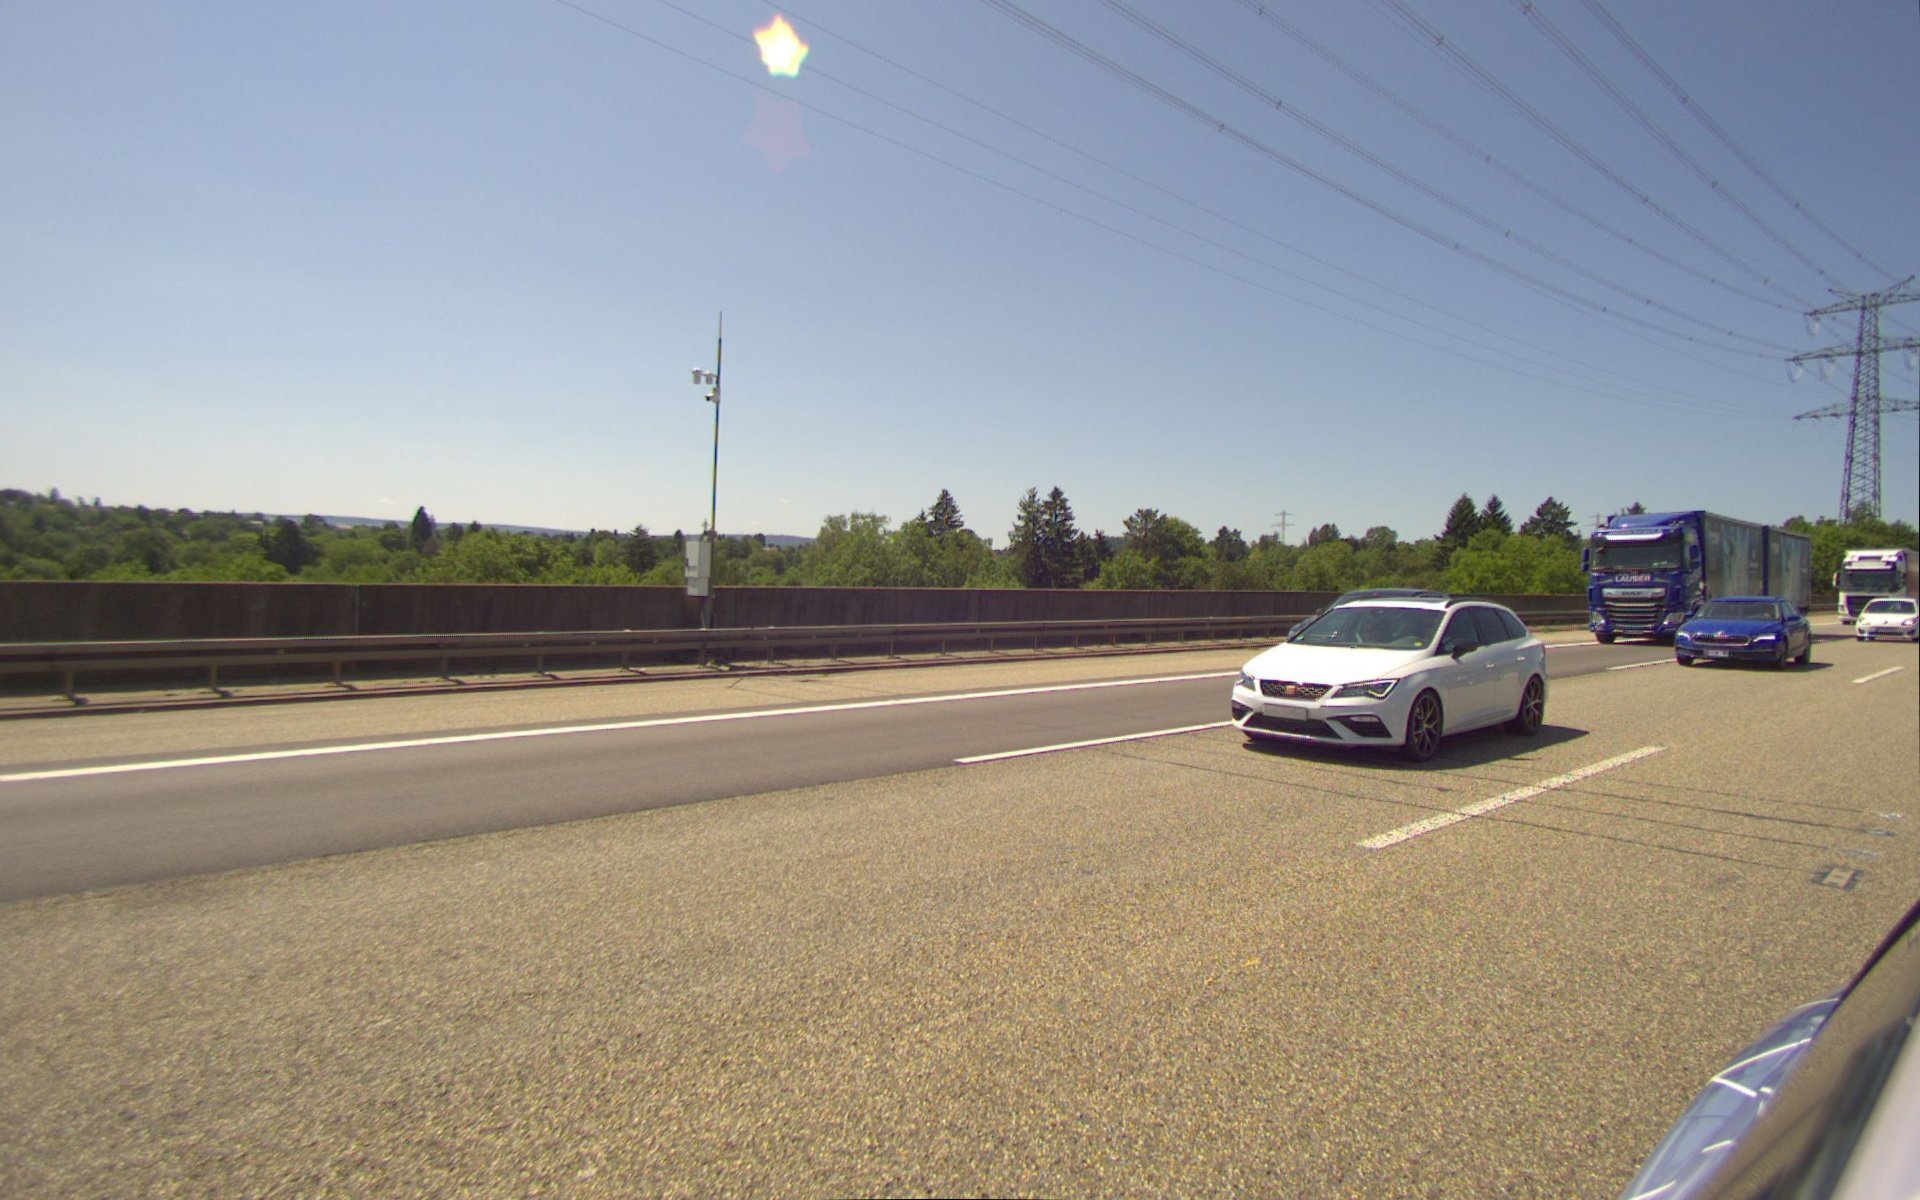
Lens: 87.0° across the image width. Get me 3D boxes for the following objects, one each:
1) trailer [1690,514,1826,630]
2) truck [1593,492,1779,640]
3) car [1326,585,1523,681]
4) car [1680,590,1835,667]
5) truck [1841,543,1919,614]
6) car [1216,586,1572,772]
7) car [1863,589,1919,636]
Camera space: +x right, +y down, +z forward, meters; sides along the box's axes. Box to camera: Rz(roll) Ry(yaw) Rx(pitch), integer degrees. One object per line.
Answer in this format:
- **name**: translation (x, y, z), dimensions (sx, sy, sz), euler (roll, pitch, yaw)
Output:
- **trailer**: translation (30.497, -0.995, 38.529), dimensions (8.331, 3.994, 2.570), euler (0, 1, -41)
- **truck**: translation (23.469, -1.003, 32.411), dimensions (10.264, 4.117, 2.527), euler (0, 1, -41)
- **car**: translation (8.455, 0.505, 18.288), dimensions (4.034, 1.546, 1.739), euler (0, 0, -41)
- **car**: translation (16.813, 0.526, 21.280), dimensions (4.135, 1.463, 1.739), euler (0, 1, -40)
- **truck**: translation (51.966, -1.166, 56.302), dimensions (10.777, 3.604, 2.982), euler (-1, 0, -41)
- **car**: translation (4.509, 0.618, 10.240), dimensions (4.003, 1.508, 1.841), euler (-1, 0, -43)
- **car**: translation (32.265, 0.399, 34.535), dimensions (4.025, 1.522, 1.761), euler (0, 1, -42)
